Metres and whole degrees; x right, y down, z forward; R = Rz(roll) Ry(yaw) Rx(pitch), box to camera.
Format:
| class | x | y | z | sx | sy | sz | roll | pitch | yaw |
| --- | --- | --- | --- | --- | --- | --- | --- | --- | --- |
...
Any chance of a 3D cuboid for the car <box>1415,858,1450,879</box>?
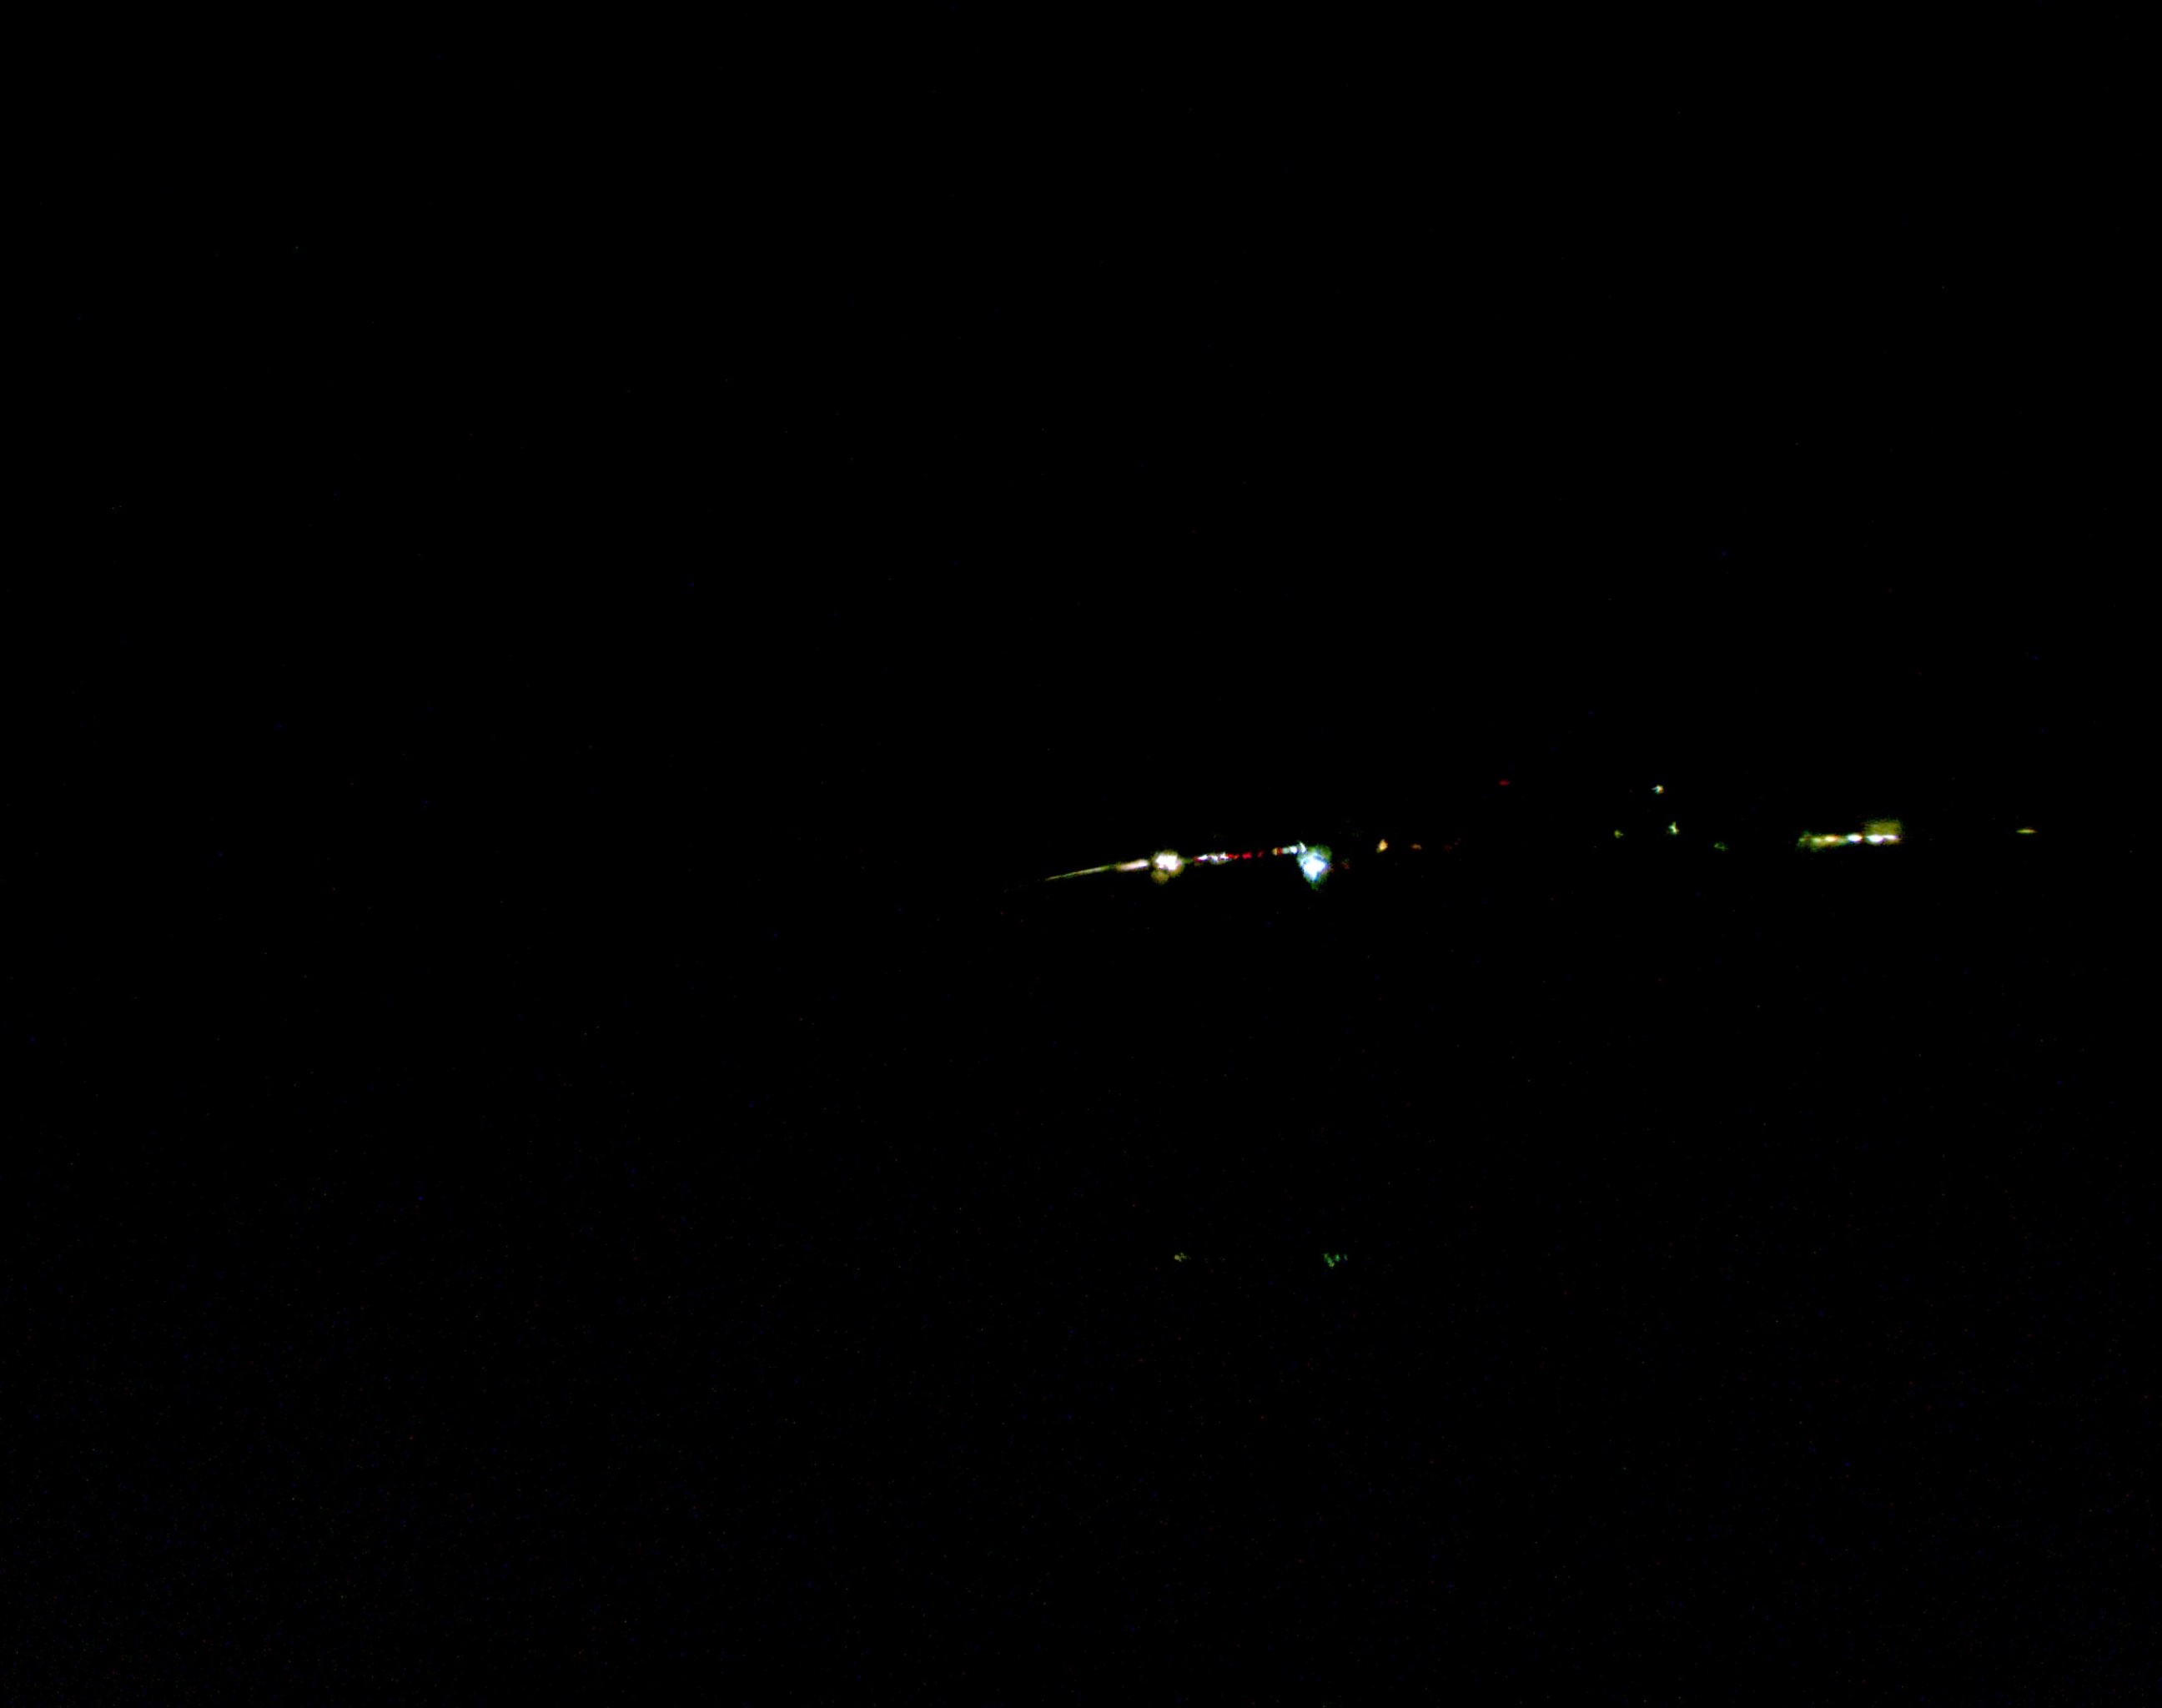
| class | x | y | z | sx | sy | sz | roll | pitch | yaw |
| --- | --- | --- | --- | --- | --- | --- | --- | --- | --- |
| car | 37.696 | 1.525 | 81.505 | 1.998 | 2.002 | 4.000 | -2 | 0 | 3 |

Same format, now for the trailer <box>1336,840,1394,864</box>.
| class | x | y | z | sx | sy | sz | roll | pitch | yaw |
| --- | --- | --- | --- | --- | --- | --- | --- | --- | --- |
| trailer | 63.691 | -0.485 | 170.435 | 11.550 | 4.768 | 3.337 | -2 | 1 | -4 |

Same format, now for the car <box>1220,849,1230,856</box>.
| class | x | y | z | sx | sy | sz | roll | pitch | yaw |
| --- | --- | --- | --- | --- | --- | --- | --- | --- | --- |
| car | 35.527 | -0.393 | 187.406 | 1.801 | 1.511 | 4.541 | -1 | 1 | 19 |

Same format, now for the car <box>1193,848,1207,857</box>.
| class | x | y | z | sx | sy | sz | roll | pitch | yaw |
| --- | --- | --- | --- | --- | --- | --- | --- | --- | --- |
| car | 22.912 | -0.278 | 146.275 | 1.996 | 1.604 | 4.617 | -2 | 0 | 18 |

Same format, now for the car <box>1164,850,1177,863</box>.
| class | x | y | z | sx | sy | sz | roll | pitch | yaw |
| --- | --- | --- | --- | --- | --- | --- | --- | --- | --- |
| car | 14.891 | 0.408 | 126.481 | 1.998 | 2.002 | 4.001 | -2 | 0 | 5 |

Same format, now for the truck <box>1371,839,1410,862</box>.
| class | x | y | z | sx | sy | sz | roll | pitch | yaw |
| --- | --- | --- | --- | --- | --- | --- | --- | --- | --- |
| truck | 69.596 | -0.739 | 170.798 | 7.316 | 4.768 | 3.337 | -2 | 1 | -4 |

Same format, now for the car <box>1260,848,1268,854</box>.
| class | x | y | z | sx | sy | sz | roll | pitch | yaw |
| --- | --- | --- | --- | --- | --- | --- | --- | --- | --- |
| car | 59.988 | -1.019 | 248.701 | 1.790 | 1.615 | 4.378 | -1 | 7 | 22 |

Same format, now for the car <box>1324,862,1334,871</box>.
| class | x | y | z | sx | sy | sz | roll | pitch | yaw |
| --- | --- | --- | --- | --- | --- | --- | --- | --- | --- |
| car | 49.098 | 2.533 | 150.567 | 1.810 | 1.561 | 4.297 | -2 | 0 | 17 |

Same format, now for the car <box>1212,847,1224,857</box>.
| class | x | y | z | sx | sy | sz | roll | pitch | yaw |
| --- | --- | --- | --- | --- | --- | --- | --- | --- | --- |
| car | 31.140 | -0.530 | 172.225 | 1.996 | 2.063 | 4.005 | -2 | 0 | 20 |

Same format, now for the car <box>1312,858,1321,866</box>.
| class | x | y | z | sx | sy | sz | roll | pitch | yaw |
| --- | --- | --- | --- | --- | --- | --- | --- | --- | --- |
| car | 55.335 | 1.946 | 178.351 | 1.810 | 1.666 | 4.298 | -2 | 0 | 20 |

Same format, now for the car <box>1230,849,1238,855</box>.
| class | x | y | z | sx | sy | sz | roll | pitch | yaw |
| --- | --- | --- | --- | --- | --- | --- | --- | --- | --- |
| car | 40.999 | -0.575 | 203.641 | 1.690 | 1.671 | 3.472 | -2 | 1 | 19 |
